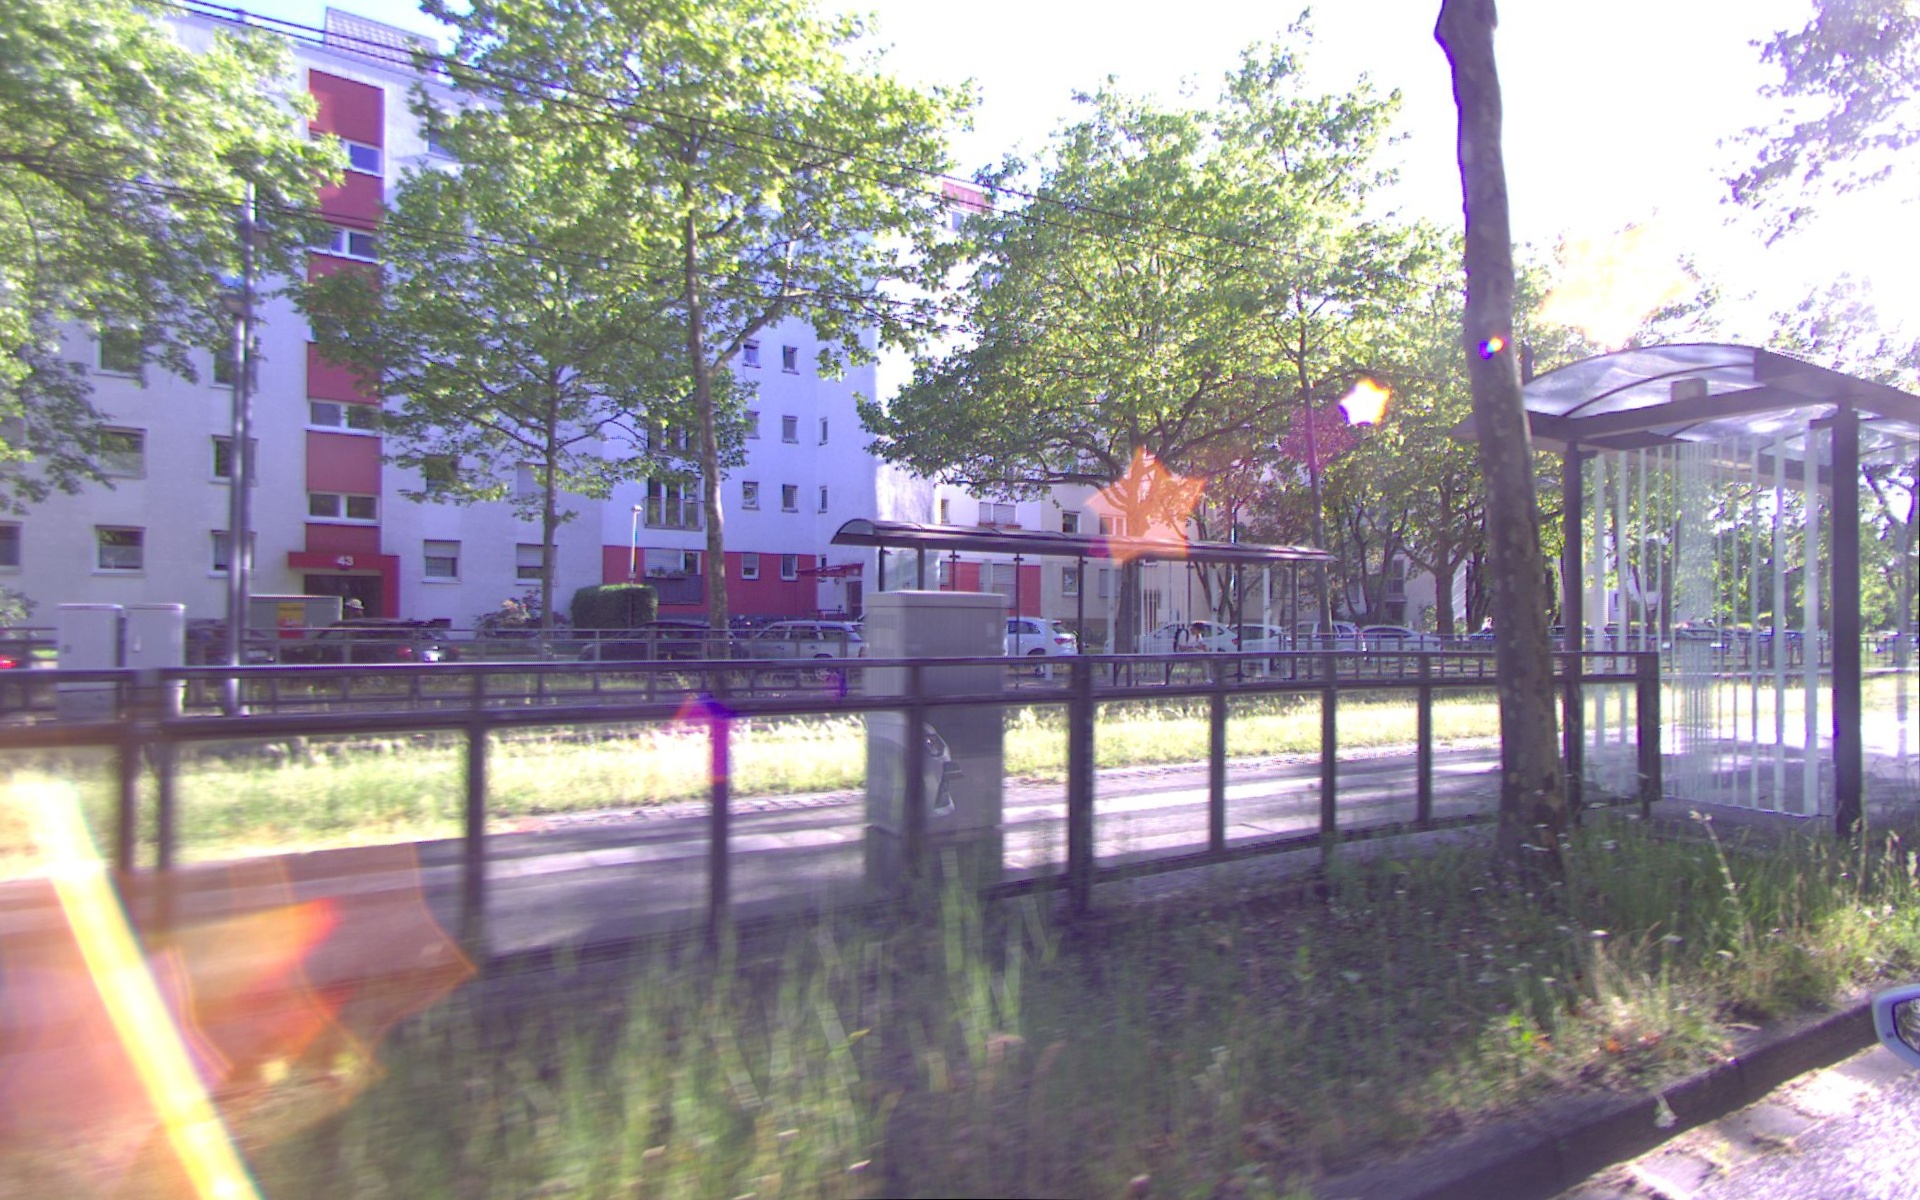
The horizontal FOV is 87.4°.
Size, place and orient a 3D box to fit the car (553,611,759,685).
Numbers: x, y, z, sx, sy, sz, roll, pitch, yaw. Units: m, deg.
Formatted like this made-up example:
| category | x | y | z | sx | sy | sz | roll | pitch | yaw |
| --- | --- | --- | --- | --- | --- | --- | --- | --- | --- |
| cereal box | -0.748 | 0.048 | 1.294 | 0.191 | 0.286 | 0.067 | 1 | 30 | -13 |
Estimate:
| category | x | y | z | sx | sy | sz | roll | pitch | yaw |
| --- | --- | --- | --- | --- | --- | --- | --- | --- | --- |
| car | -7.219 | 1.092 | 23.910 | 4.410 | 1.518 | 1.900 | 1 | 1 | 19 |

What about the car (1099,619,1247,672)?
| category | x | y | z | sx | sy | sz | roll | pitch | yaw |
| --- | --- | --- | --- | --- | --- | --- | --- | --- | --- |
| car | 6.666 | 1.397 | 31.625 | 4.409 | 1.524 | 1.901 | 0 | 0 | 12 |

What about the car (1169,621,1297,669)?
| category | x | y | z | sx | sy | sz | roll | pitch | yaw |
| --- | --- | --- | --- | --- | --- | --- | --- | --- | --- |
| car | 8.956 | 1.468 | 33.228 | 3.977 | 1.452 | 1.577 | 0 | 0 | 12 |

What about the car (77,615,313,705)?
| category | x | y | z | sx | sy | sz | roll | pitch | yaw |
| --- | --- | --- | --- | --- | --- | --- | --- | --- | --- |
| car | -14.550 | 1.075 | 19.113 | 4.118 | 1.447 | 1.699 | 1 | 1 | 22 |

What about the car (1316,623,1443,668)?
| category | x | y | z | sx | sy | sz | roll | pitch | yaw |
| --- | --- | --- | --- | --- | --- | --- | --- | --- | --- |
| car | 15.029 | 1.616 | 36.194 | 3.977 | 1.493 | 1.577 | 0 | 0 | 12 |

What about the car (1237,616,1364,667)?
| category | x | y | z | sx | sy | sz | roll | pitch | yaw |
| --- | --- | --- | --- | --- | --- | --- | --- | --- | --- |
| car | 11.678 | 1.399 | 34.681 | 3.977 | 1.590 | 1.576 | 0 | 1 | 12 |

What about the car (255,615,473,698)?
| category | x | y | z | sx | sy | sz | roll | pitch | yaw |
| --- | --- | --- | --- | --- | --- | --- | --- | --- | --- |
| car | -12.191 | 1.087 | 20.542 | 4.118 | 1.447 | 1.699 | 1 | 1 | 22 |

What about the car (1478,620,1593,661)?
| category | x | y | z | sx | sy | sz | roll | pitch | yaw |
| --- | --- | --- | --- | --- | --- | --- | --- | --- | --- |
| car | 24.057 | 1.659 | 42.118 | 3.914 | 1.565 | 1.646 | 1 | 0 | 19 |

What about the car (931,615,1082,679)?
| category | x | y | z | sx | sy | sz | roll | pitch | yaw |
| --- | --- | --- | --- | --- | --- | --- | --- | --- | --- |
| car | 1.335 | 1.286 | 28.350 | 3.978 | 1.632 | 1.690 | 0 | 0 | 17 |

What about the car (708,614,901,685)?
| category | x | y | z | sx | sy | sz | roll | pitch | yaw |
| --- | --- | --- | --- | --- | --- | --- | --- | --- | --- |
| car | -3.895 | 1.185 | 25.223 | 4.410 | 1.518 | 1.900 | 1 | 1 | 19 |

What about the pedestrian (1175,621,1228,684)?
| category | x | y | z | sx | sy | sz | roll | pitch | yaw |
| --- | --- | --- | --- | --- | --- | --- | --- | --- | --- |
| pedestrian | 4.497 | 0.978 | 18.714 | 0.654 | 1.142 | 0.692 | 1 | -4 | -29 |

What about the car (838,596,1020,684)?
| category | x | y | z | sx | sy | sz | roll | pitch | yaw |
| --- | --- | --- | --- | --- | --- | --- | --- | --- | --- |
| car | -0.812 | 0.986 | 26.583 | 4.412 | 2.091 | 1.899 | 1 | 1 | 22 |

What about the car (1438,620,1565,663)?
| category | x | y | z | sx | sy | sz | roll | pitch | yaw |
| --- | --- | --- | --- | --- | --- | --- | --- | --- | --- |
| car | 21.257 | 1.608 | 39.571 | 4.090 | 1.565 | 1.647 | 0 | 0 | 12 |
